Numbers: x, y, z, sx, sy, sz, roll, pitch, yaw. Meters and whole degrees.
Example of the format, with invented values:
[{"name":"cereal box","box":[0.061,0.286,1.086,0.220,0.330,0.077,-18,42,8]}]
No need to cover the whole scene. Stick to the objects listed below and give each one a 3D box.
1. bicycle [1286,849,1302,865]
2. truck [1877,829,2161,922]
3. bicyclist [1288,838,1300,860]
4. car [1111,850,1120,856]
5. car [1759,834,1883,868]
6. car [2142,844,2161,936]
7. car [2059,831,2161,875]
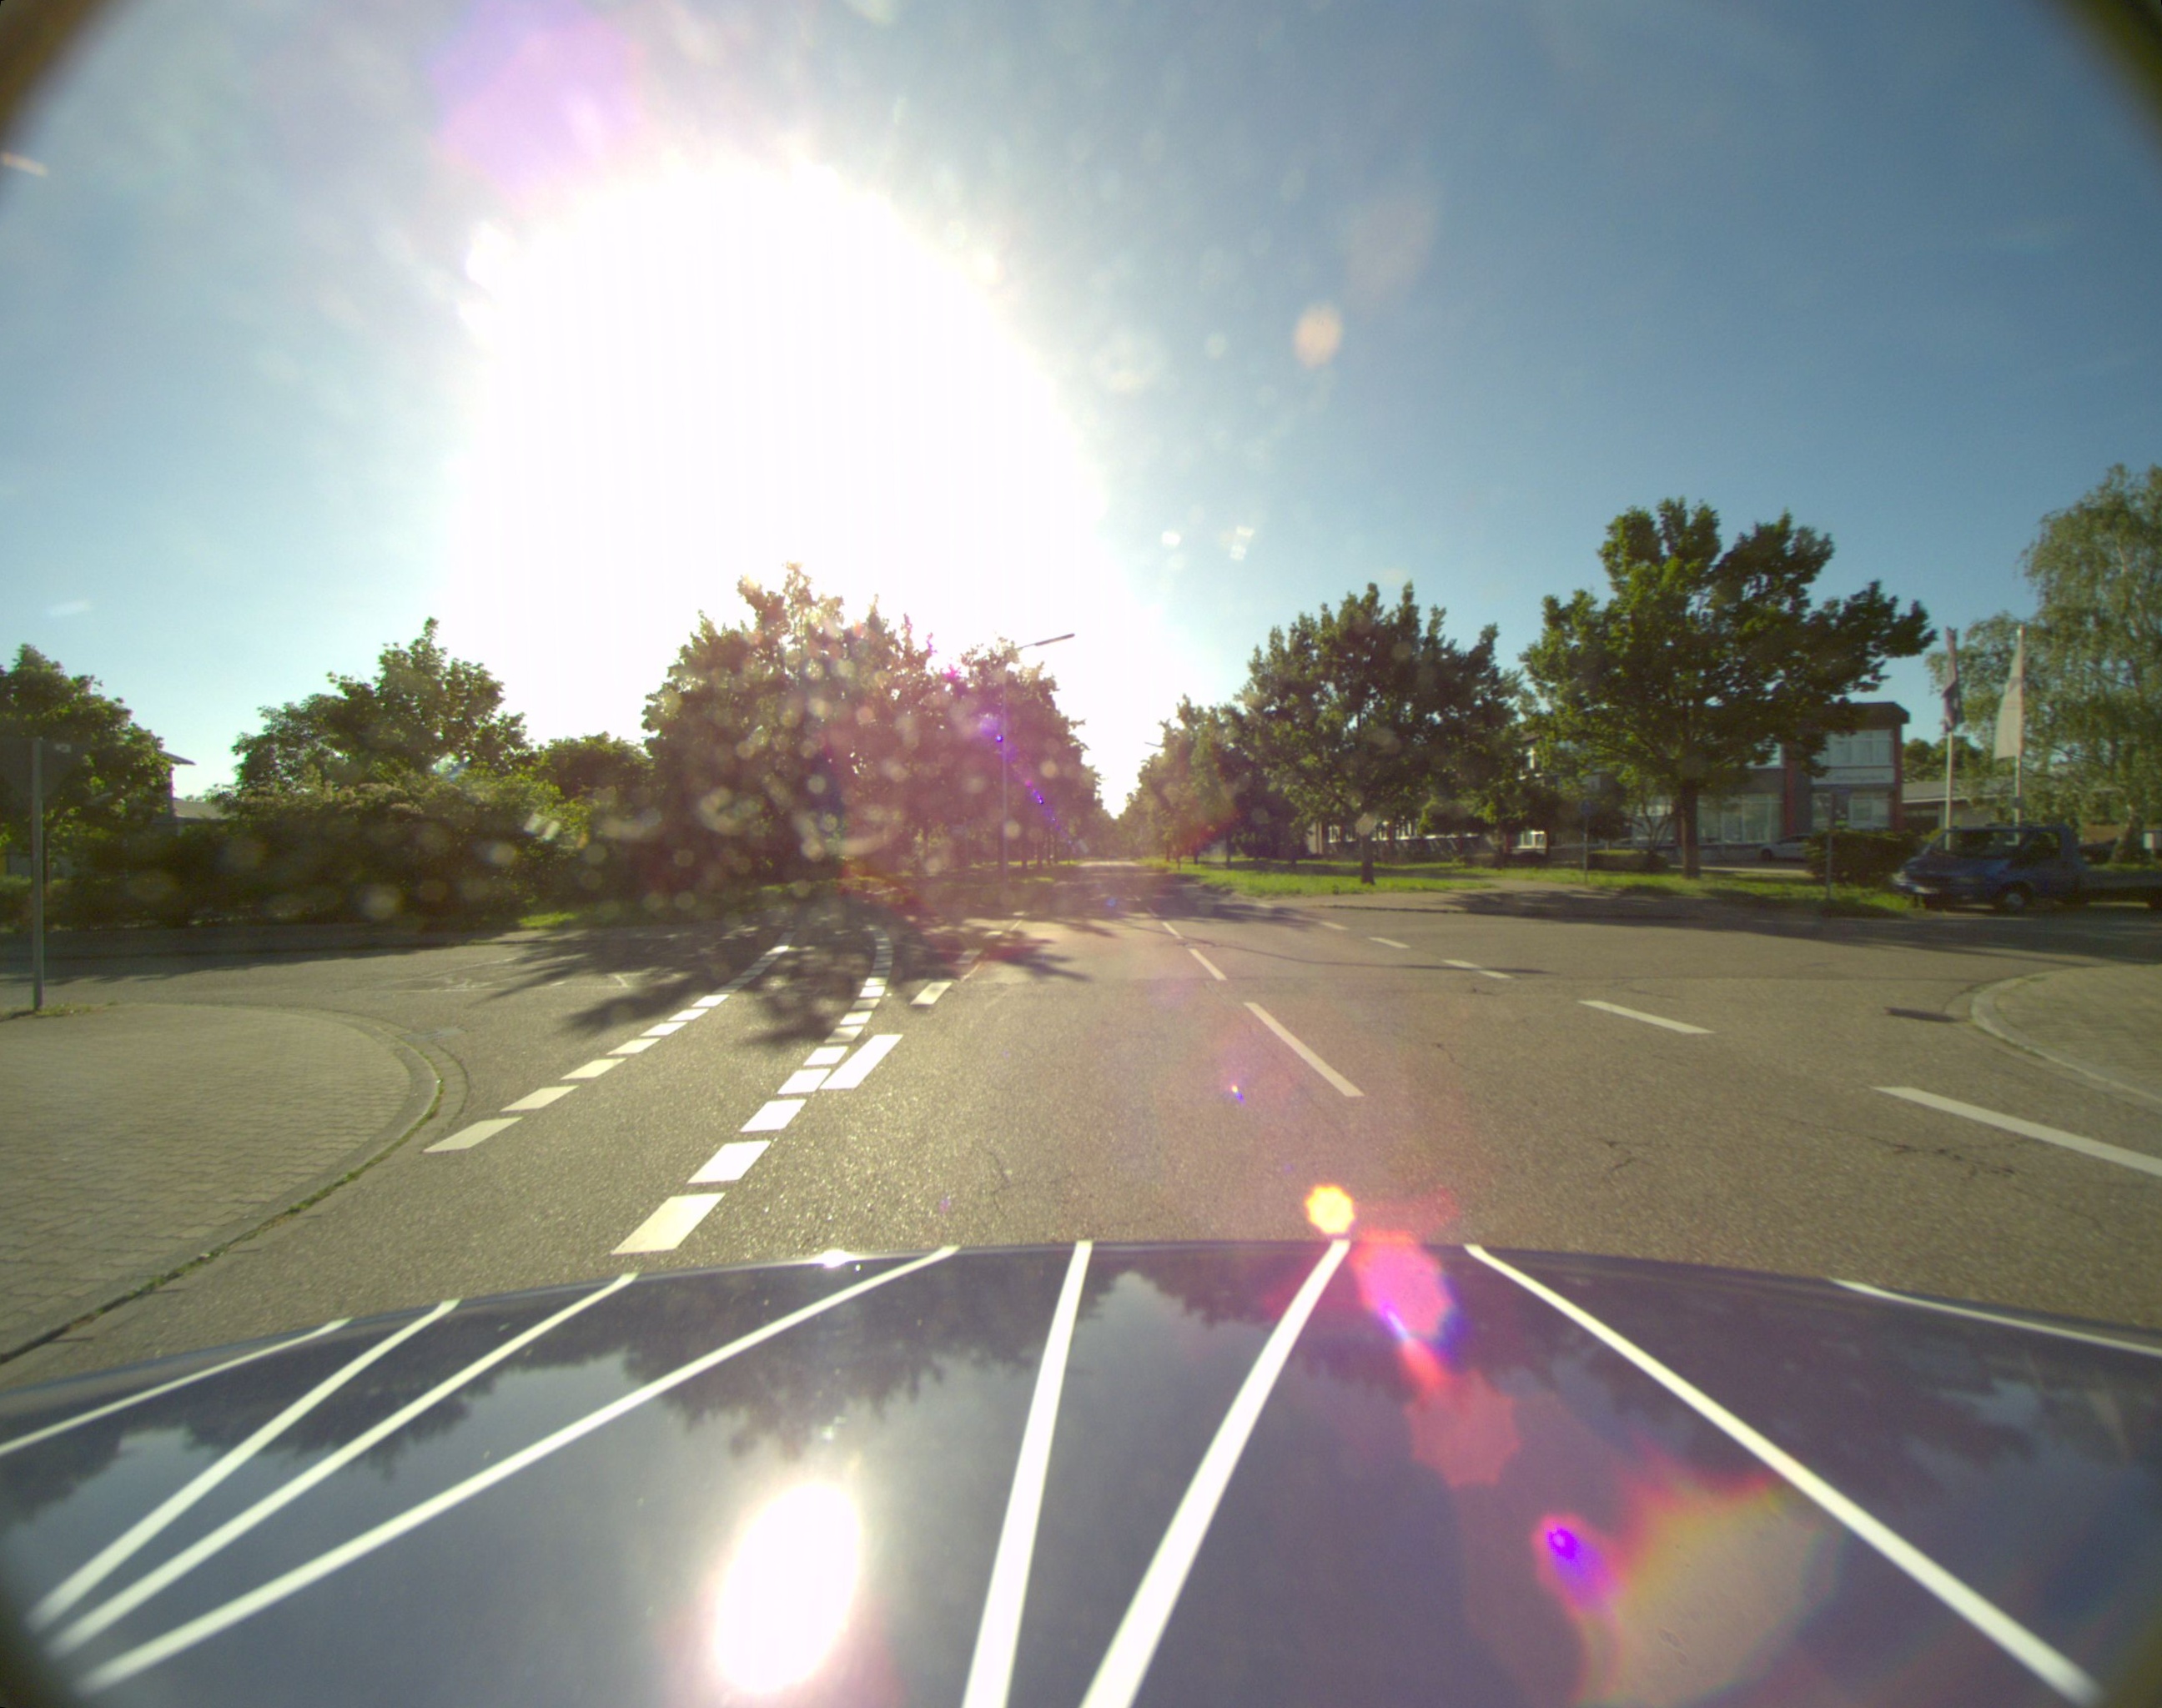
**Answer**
[{"name":"bicycle","box":[15.953,0.202,56.849,0.552,1.155,2.334,-3,1,1]},{"name":"truck","box":[23.607,0.439,18.168,7.131,2.038,2.140,-1,1,-3]},{"name":"bicyclist","box":[15.919,-0.356,56.816,0.665,1.620,0.658,-3,2,1]},{"name":"car","box":[8.348,-0.287,185.155,1.827,1.477,3.999,-3,1,-1]},{"name":"car","box":[37.417,-0.216,38.593,1.999,1.486,4.295,-3,3,-2]},{"name":"car","box":[20.916,0.642,12.488,4.295,1.586,1.759,0,2,2]},{"name":"car","box":[41.188,-0.052,29.030,1.999,1.486,4.295,-3,3,-2]}]
